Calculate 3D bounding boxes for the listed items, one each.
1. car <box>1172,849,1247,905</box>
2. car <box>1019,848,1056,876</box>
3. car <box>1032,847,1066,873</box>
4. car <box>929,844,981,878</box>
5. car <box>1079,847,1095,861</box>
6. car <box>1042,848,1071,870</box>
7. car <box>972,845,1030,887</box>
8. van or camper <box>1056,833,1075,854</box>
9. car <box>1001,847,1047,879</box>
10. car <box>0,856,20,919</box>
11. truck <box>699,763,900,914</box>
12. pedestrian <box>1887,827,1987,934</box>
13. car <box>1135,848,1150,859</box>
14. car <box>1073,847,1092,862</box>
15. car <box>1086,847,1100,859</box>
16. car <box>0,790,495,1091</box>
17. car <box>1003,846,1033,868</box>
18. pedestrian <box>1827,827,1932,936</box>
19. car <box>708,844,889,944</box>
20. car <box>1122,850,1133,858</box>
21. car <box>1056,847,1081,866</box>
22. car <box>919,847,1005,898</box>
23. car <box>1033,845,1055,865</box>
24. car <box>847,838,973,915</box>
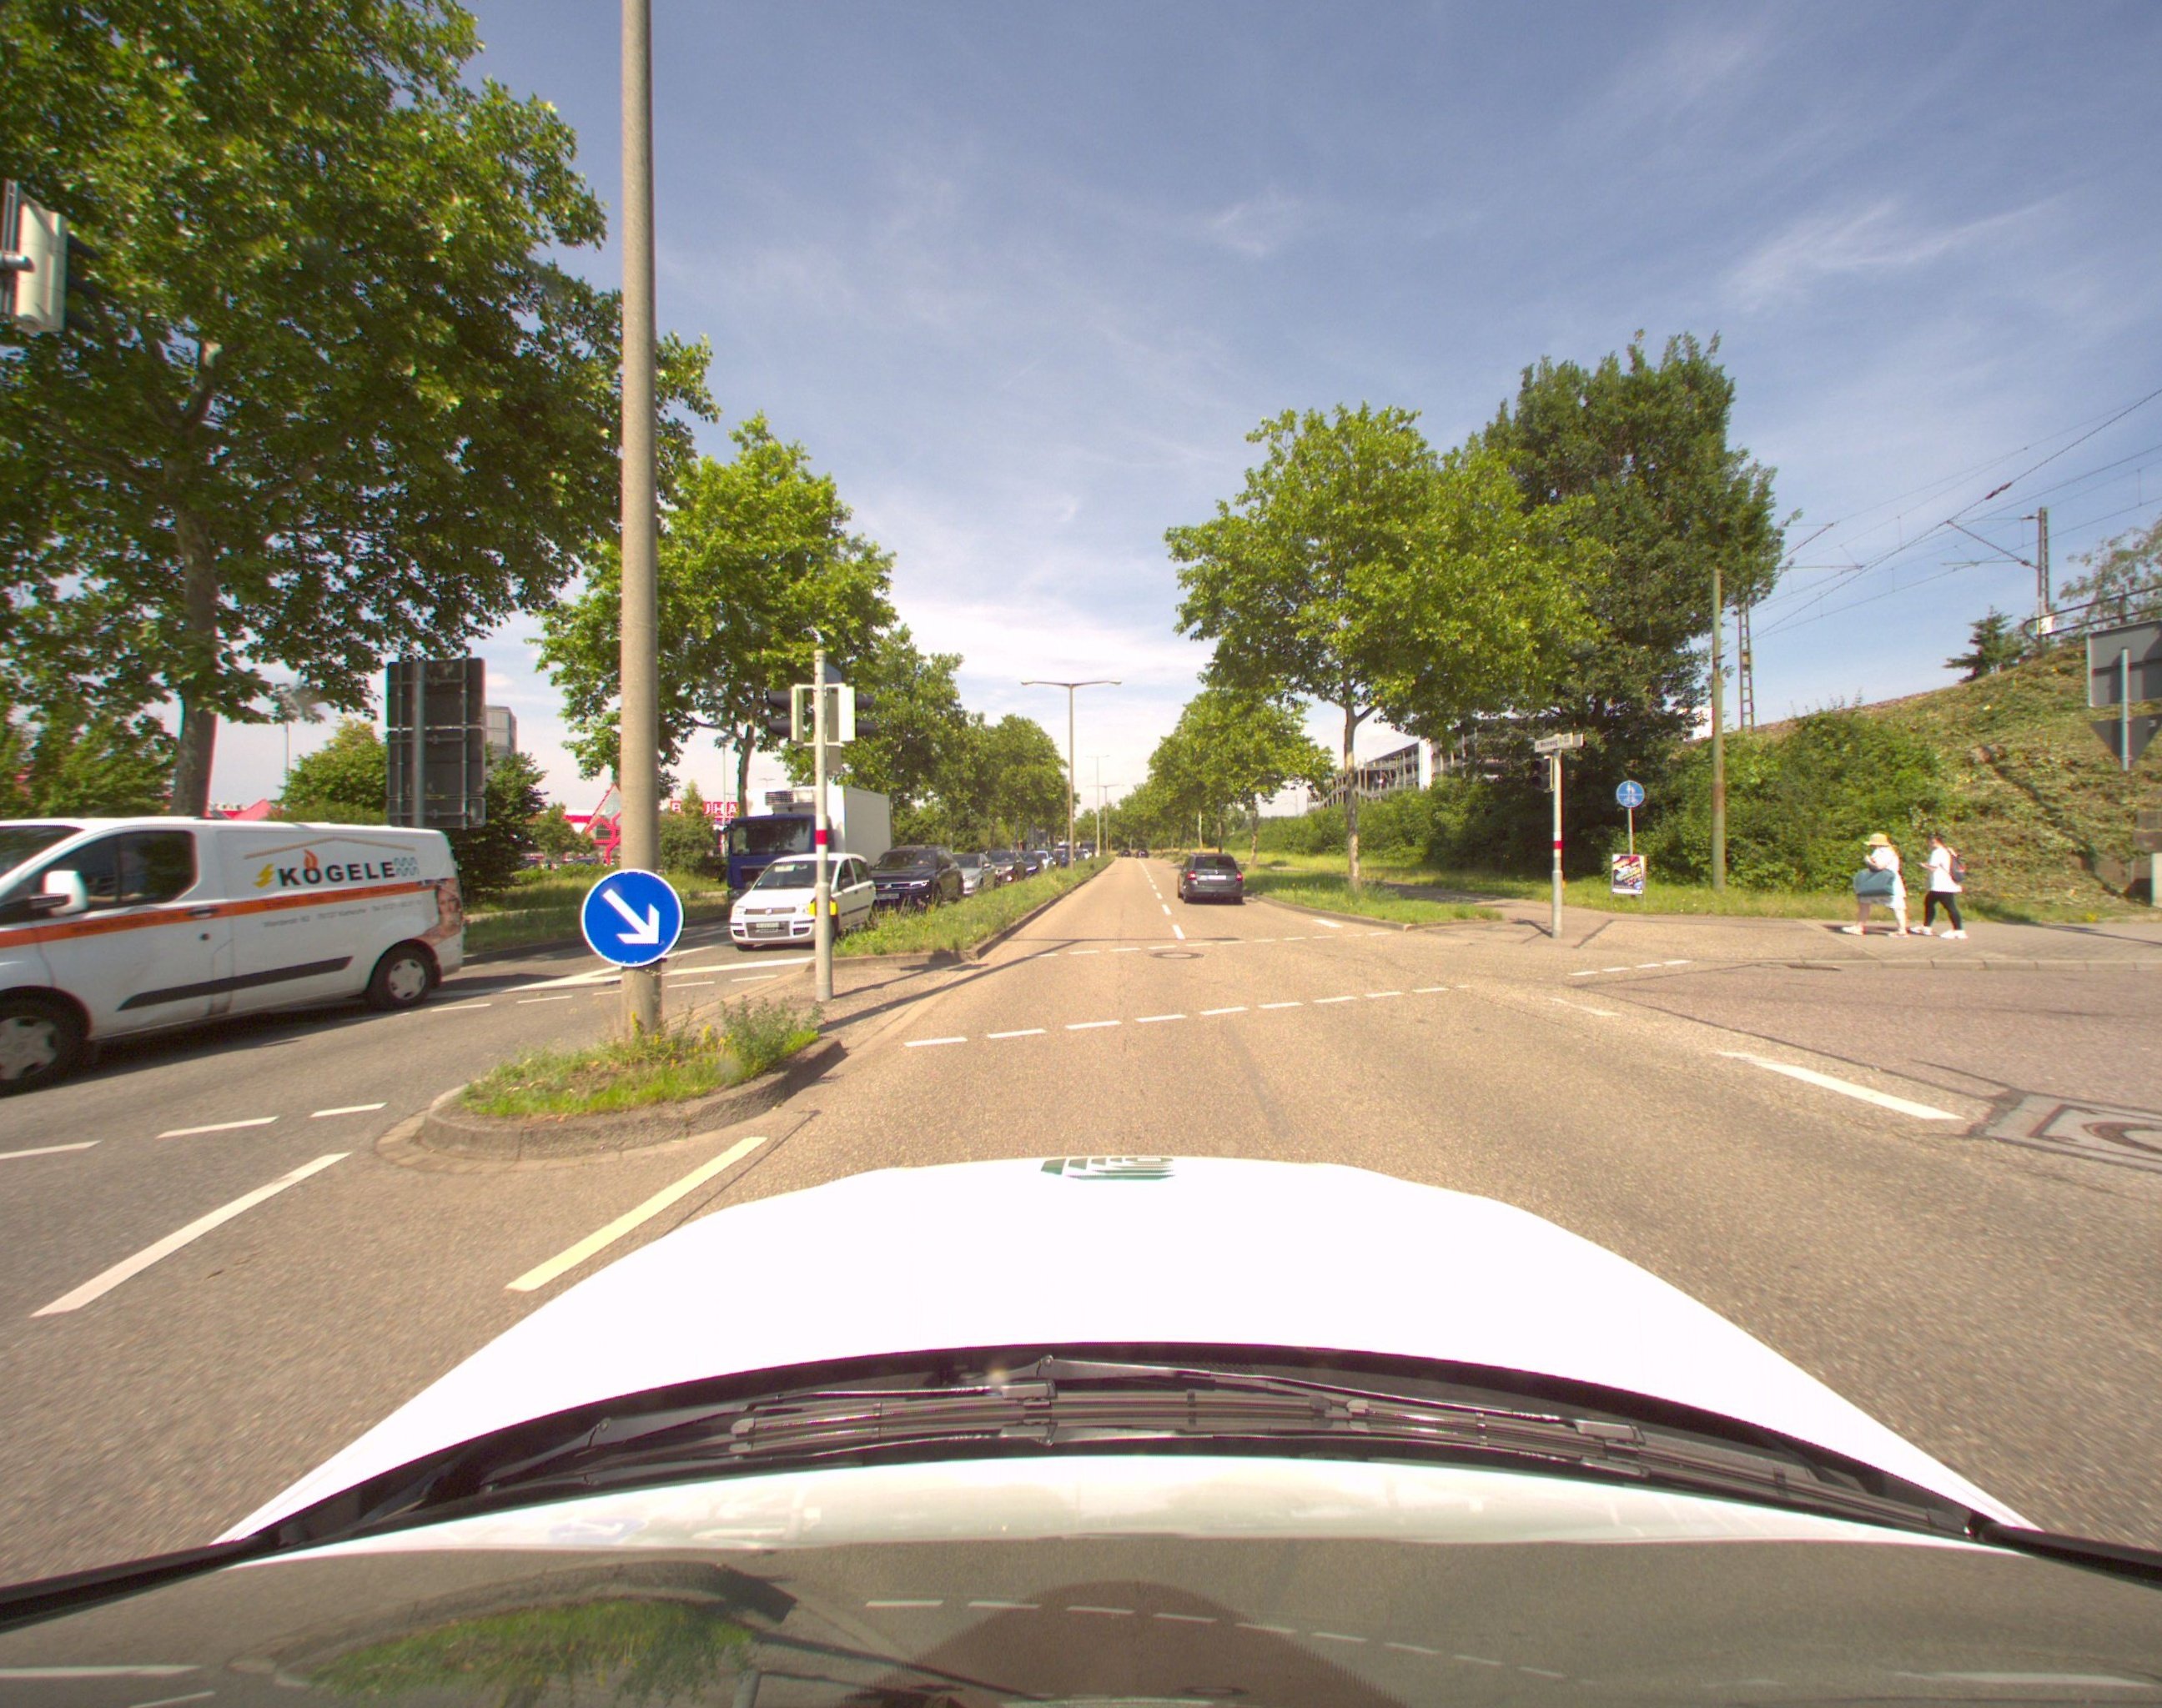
[{"bbox_3d":[3.728,0.621,24.220,1.668,1.453,4.037,1,1,1],"label":"car"},{"bbox_3d":[-2.434,0.397,46.364,1.681,1.471,3.818,-1,1,3],"label":"car"},{"bbox_3d":[-2.057,0.362,53.698,1.750,1.530,4.832,-2,1,4],"label":"car"},{"bbox_3d":[-6.148,0.324,40.178,1.682,1.530,4.087,-2,0,2],"label":"car"},{"bbox_3d":[0.700,-0.042,92.980,1.681,1.510,3.818,-1,1,3],"label":"car"},{"bbox_3d":[-1.717,0.307,59.052,1.777,1.489,4.214,-1,1,2],"label":"car"},{"bbox_3d":[-3.205,0.444,33.553,1.681,1.586,4.244,-1,1,3],"label":"car"},{"bbox_3d":[-1.966,-1.384,107.826,2.006,2.587,5.522,-1,1,4],"label":"van or camper"},{"bbox_3d":[-2.801,0.409,40.837,1.681,1.473,4.222,-2,0,3],"label":"car"},{"bbox_3d":[-26.531,0.773,17.405,4.553,1.414,2.198,0,0,-4],"label":"car"},{"bbox_3d":[-7.430,-0.418,22.699,2.792,3.471,6.698,-2,1,3],"label":"truck"},{"bbox_3d":[13.005,0.387,12.396,0.726,1.579,0.778,0,0,3],"label":"pedestrian"},{"bbox_3d":[9.174,-0.060,122.073,1.901,1.463,4.622,0,1,1],"label":"car"},{"bbox_3d":[0.185,0.038,86.556,1.776,1.459,4.476,-1,1,3],"label":"car"},{"bbox_3d":[1.614,-0.103,109.634,1.681,1.530,3.818,-1,0,3],"label":"car"},{"bbox_3d":[-8.094,0.594,7.153,1.968,1.999,5.036,-2,0,3],"label":"car"},{"bbox_3d":[-4.738,0.193,61.757,1.681,1.530,3.943,-1,1,3],"label":"car"},{"bbox_3d":[12.215,0.402,12.488,0.864,1.611,0.778,0,0,3],"label":"pedestrian"},{"bbox_3d":[-4.695,0.583,14.106,1.586,1.477,3.733,-1,1,3],"label":"car"},{"bbox_3d":[8.519,0.013,150.112,1.902,1.463,4.582,0,1,0],"label":"car"},{"bbox_3d":[-0.980,0.219,67.903,1.816,1.465,4.453,-1,1,2],"label":"car"},{"bbox_3d":[-3.757,0.540,26.524,1.789,1.467,4.528,-1,1,4],"label":"car"},{"bbox_3d":[-3.594,0.099,80.356,1.681,1.858,4.040,-1,0,3],"label":"car"},{"bbox_3d":[-4.062,0.511,20.141,1.812,1.646,4.698,-1,-1,3],"label":"car"}]
